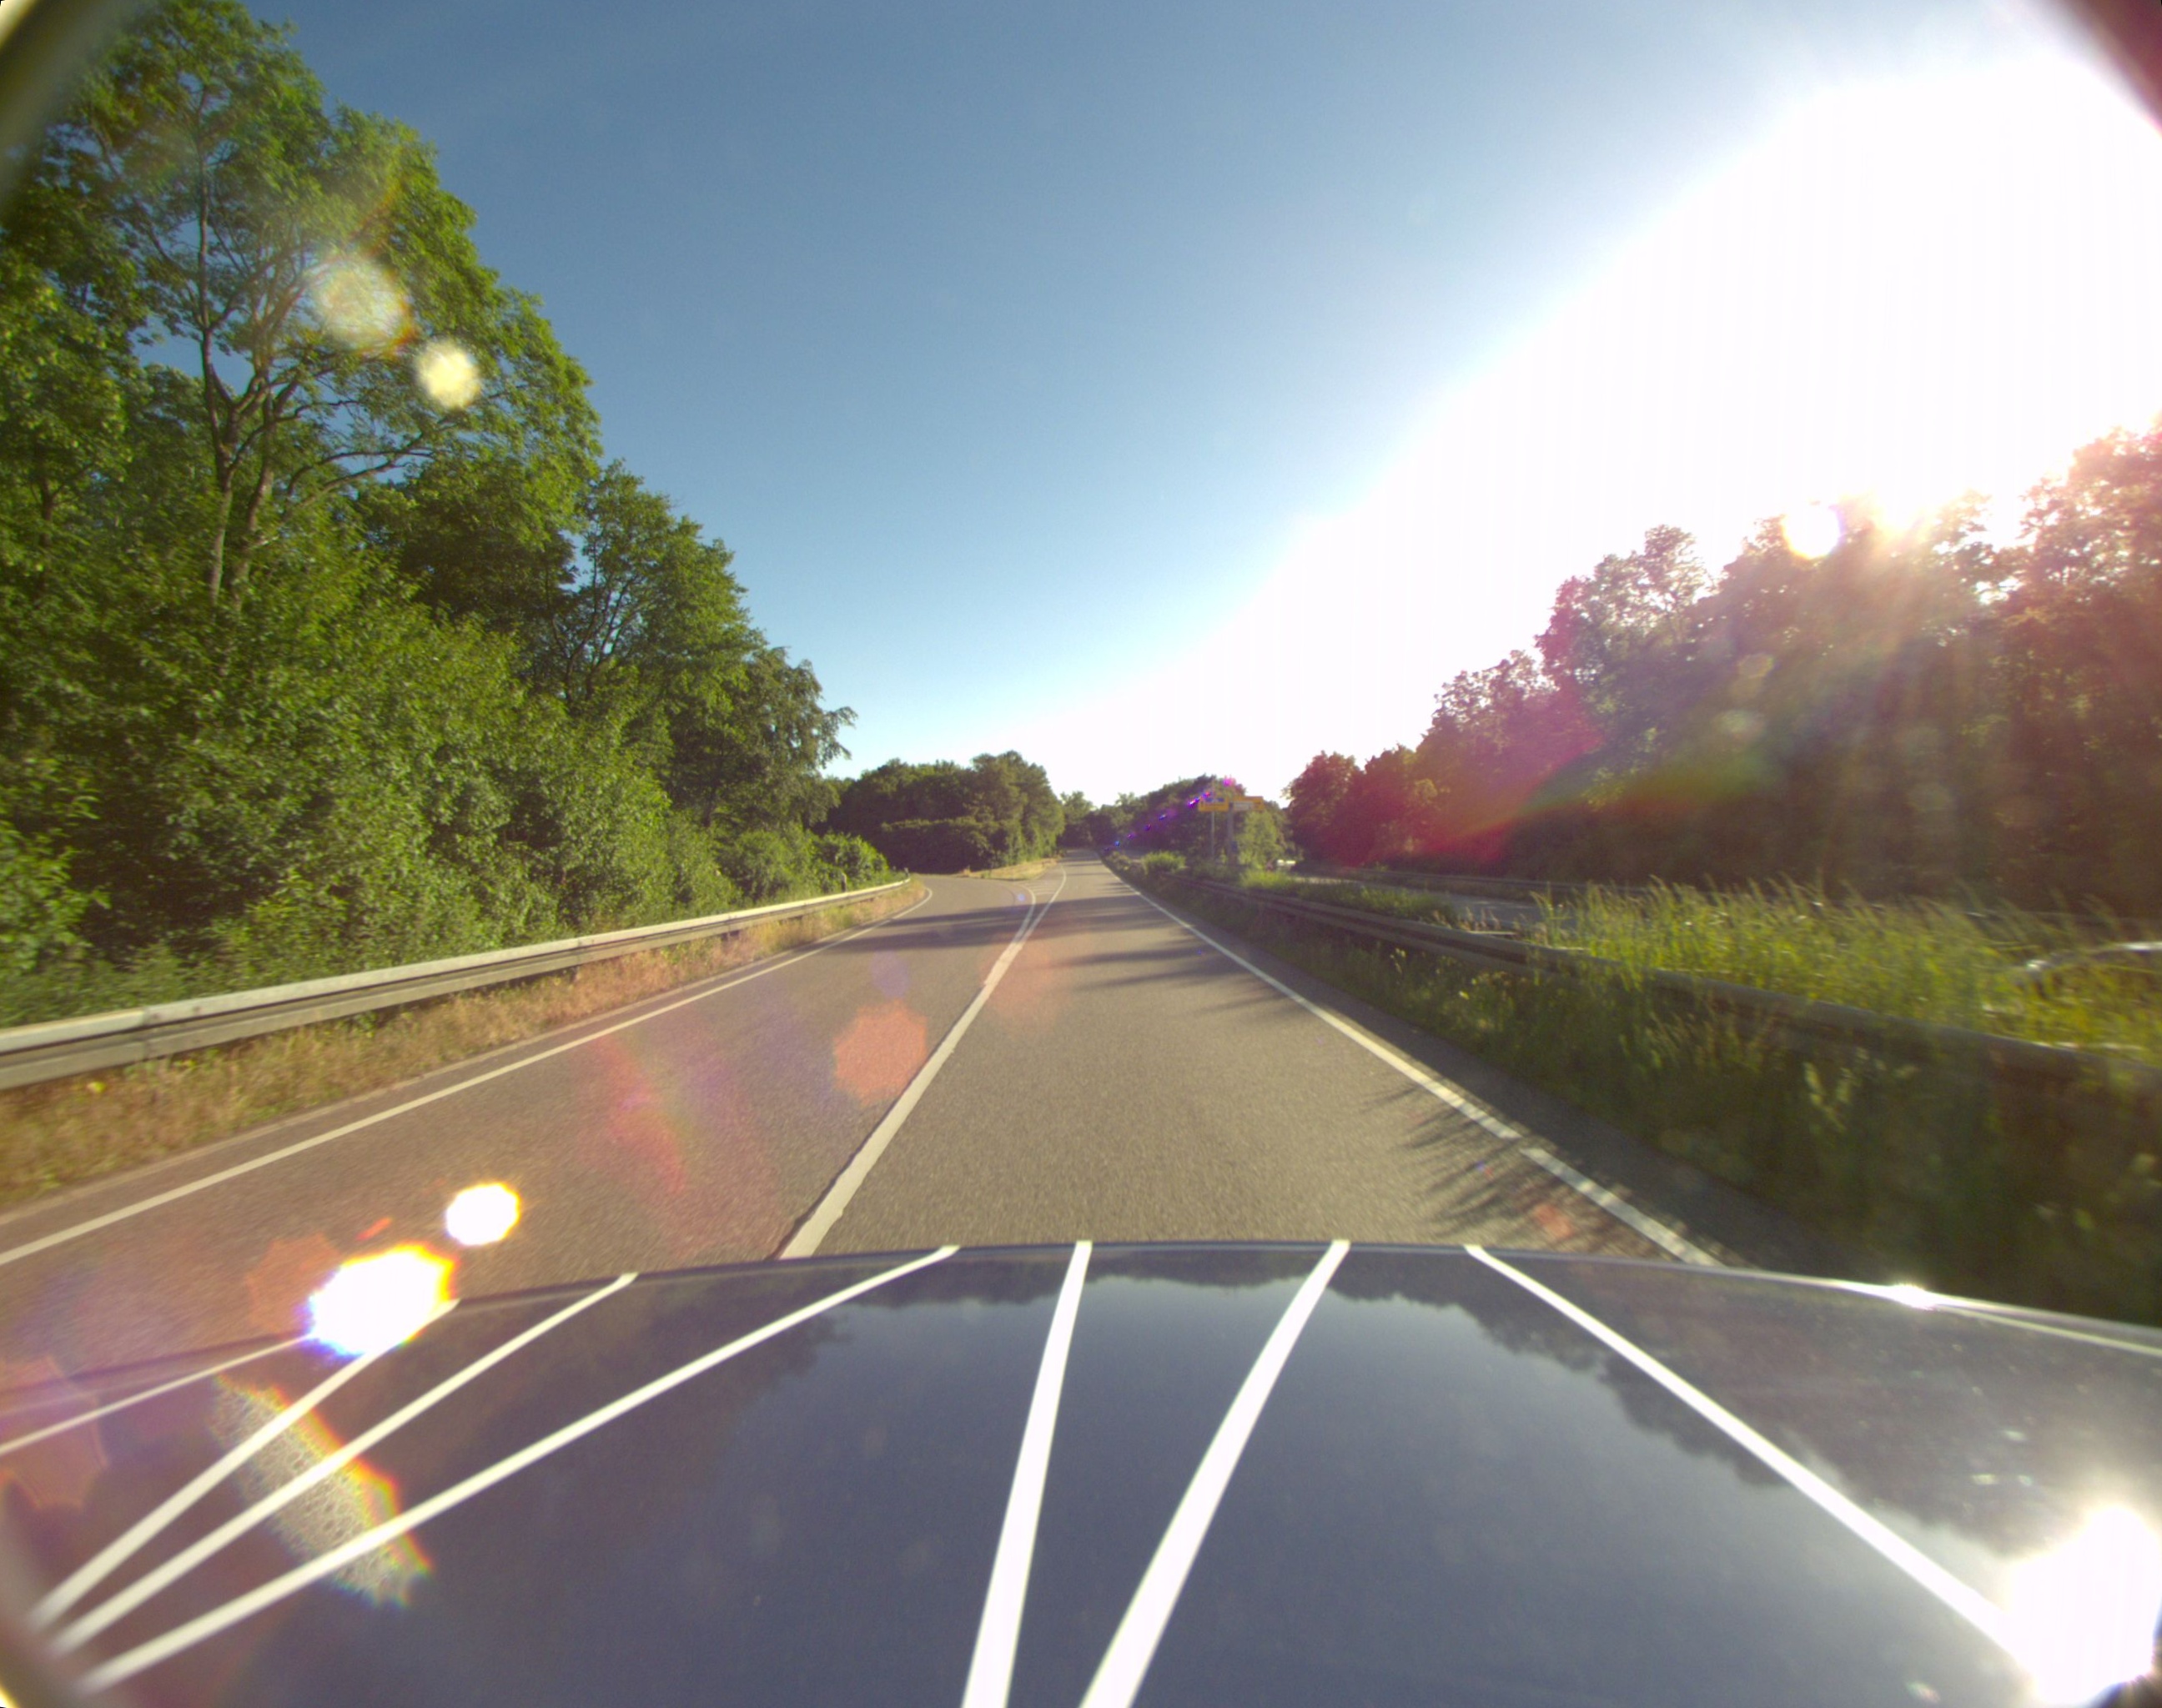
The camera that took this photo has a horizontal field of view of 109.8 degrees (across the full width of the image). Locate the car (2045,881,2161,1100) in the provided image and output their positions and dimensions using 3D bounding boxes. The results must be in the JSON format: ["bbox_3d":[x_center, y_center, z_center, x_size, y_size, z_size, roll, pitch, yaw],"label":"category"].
[{"bbox_3d":[7.849,0.900,3.240,1.785,1.395,4.553,0,0,2],"label":"car"}]
